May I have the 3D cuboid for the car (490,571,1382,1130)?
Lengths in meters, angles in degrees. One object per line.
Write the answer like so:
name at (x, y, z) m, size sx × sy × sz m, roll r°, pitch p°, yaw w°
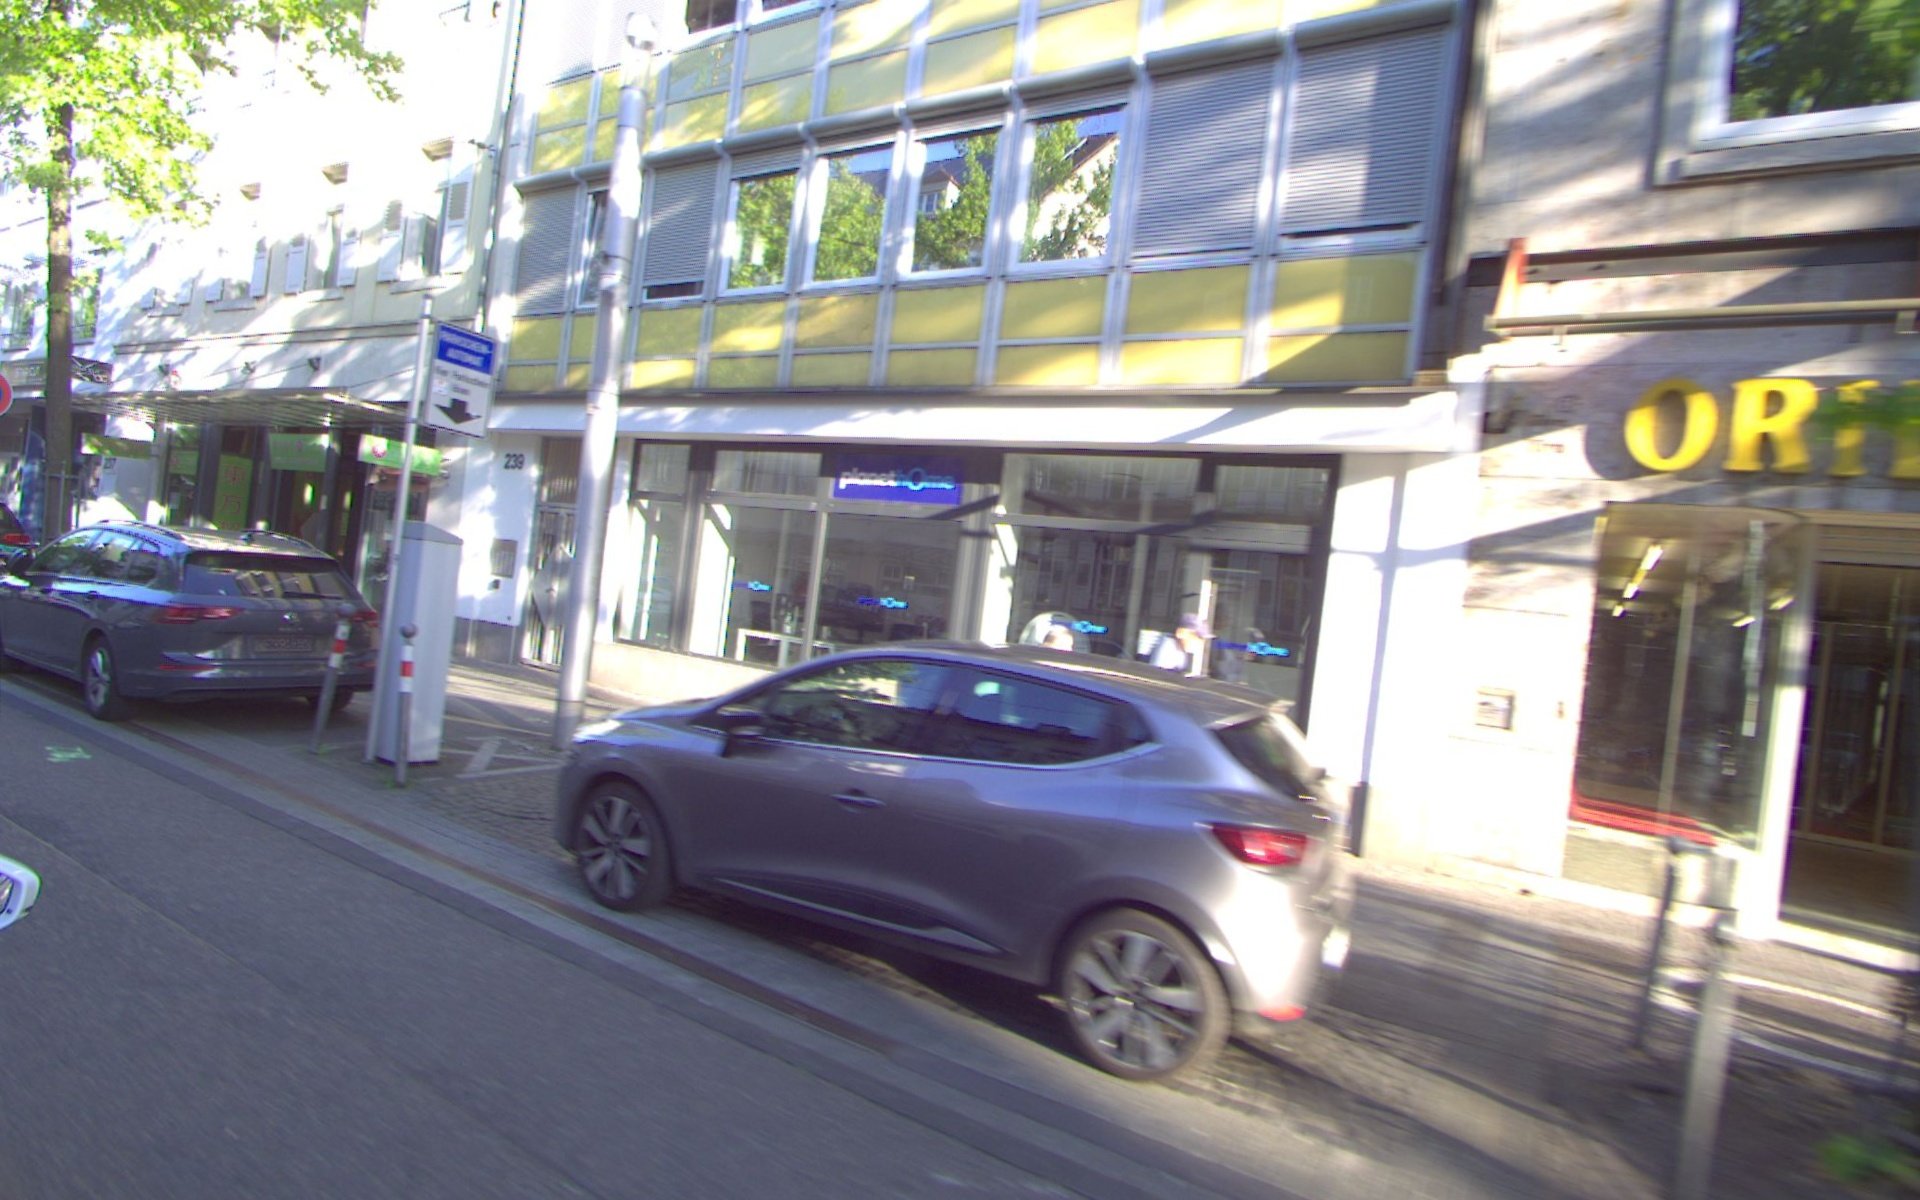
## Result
car at (-0.170, 0.815, 4.980) m, size 3.930 × 1.506 × 1.816 m, roll 6°, pitch 3°, yaw 27°

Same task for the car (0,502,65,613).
car at (-14.808, -0.823, 14.146) m, size 3.929 × 1.453 × 1.843 m, roll 7°, pitch -1°, yaw 26°

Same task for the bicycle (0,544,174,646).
bicycle at (-9.889, -0.059, 10.949) m, size 0.278 × 0.976 × 2.038 m, roll 7°, pitch -1°, yaw 37°

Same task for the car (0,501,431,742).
car at (-6.621, 0.077, 8.660) m, size 4.039 × 1.472 × 1.871 m, roll 7°, pitch 1°, yaw 33°

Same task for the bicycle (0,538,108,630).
bicycle at (-11.156, -0.212, 11.870) m, size 0.488 × 0.976 × 1.539 m, roll 7°, pitch -1°, yaw 36°

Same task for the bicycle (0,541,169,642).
bicycle at (-10.113, -0.082, 11.495) m, size 0.489 × 0.976 × 1.538 m, roll 7°, pitch -1°, yaw 39°

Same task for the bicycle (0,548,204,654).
bicycle at (-9.476, 0.030, 10.953) m, size 0.327 × 0.976 × 1.897 m, roll 7°, pitch -1°, yaw 37°

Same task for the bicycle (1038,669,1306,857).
bicycle at (1.624, 1.200, 7.826) m, size 1.830 × 1.087 × 0.648 m, roll 7°, pitch 0°, yaw 30°

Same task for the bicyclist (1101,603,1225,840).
bicyclist at (1.588, 0.918, 7.840) m, size 0.589 × 1.705 × 0.639 m, roll 7°, pitch 1°, yaw 30°

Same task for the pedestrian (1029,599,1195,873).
pedestrian at (1.049, 0.890, 6.841) m, size 0.688 × 1.666 × 0.798 m, roll 7°, pitch 0°, yaw 30°

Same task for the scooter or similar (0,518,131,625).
scooter or similar at (-11.645, -0.369, 12.764) m, size 0.664 × 1.211 × 1.539 m, roll 7°, pitch -1°, yaw 36°
